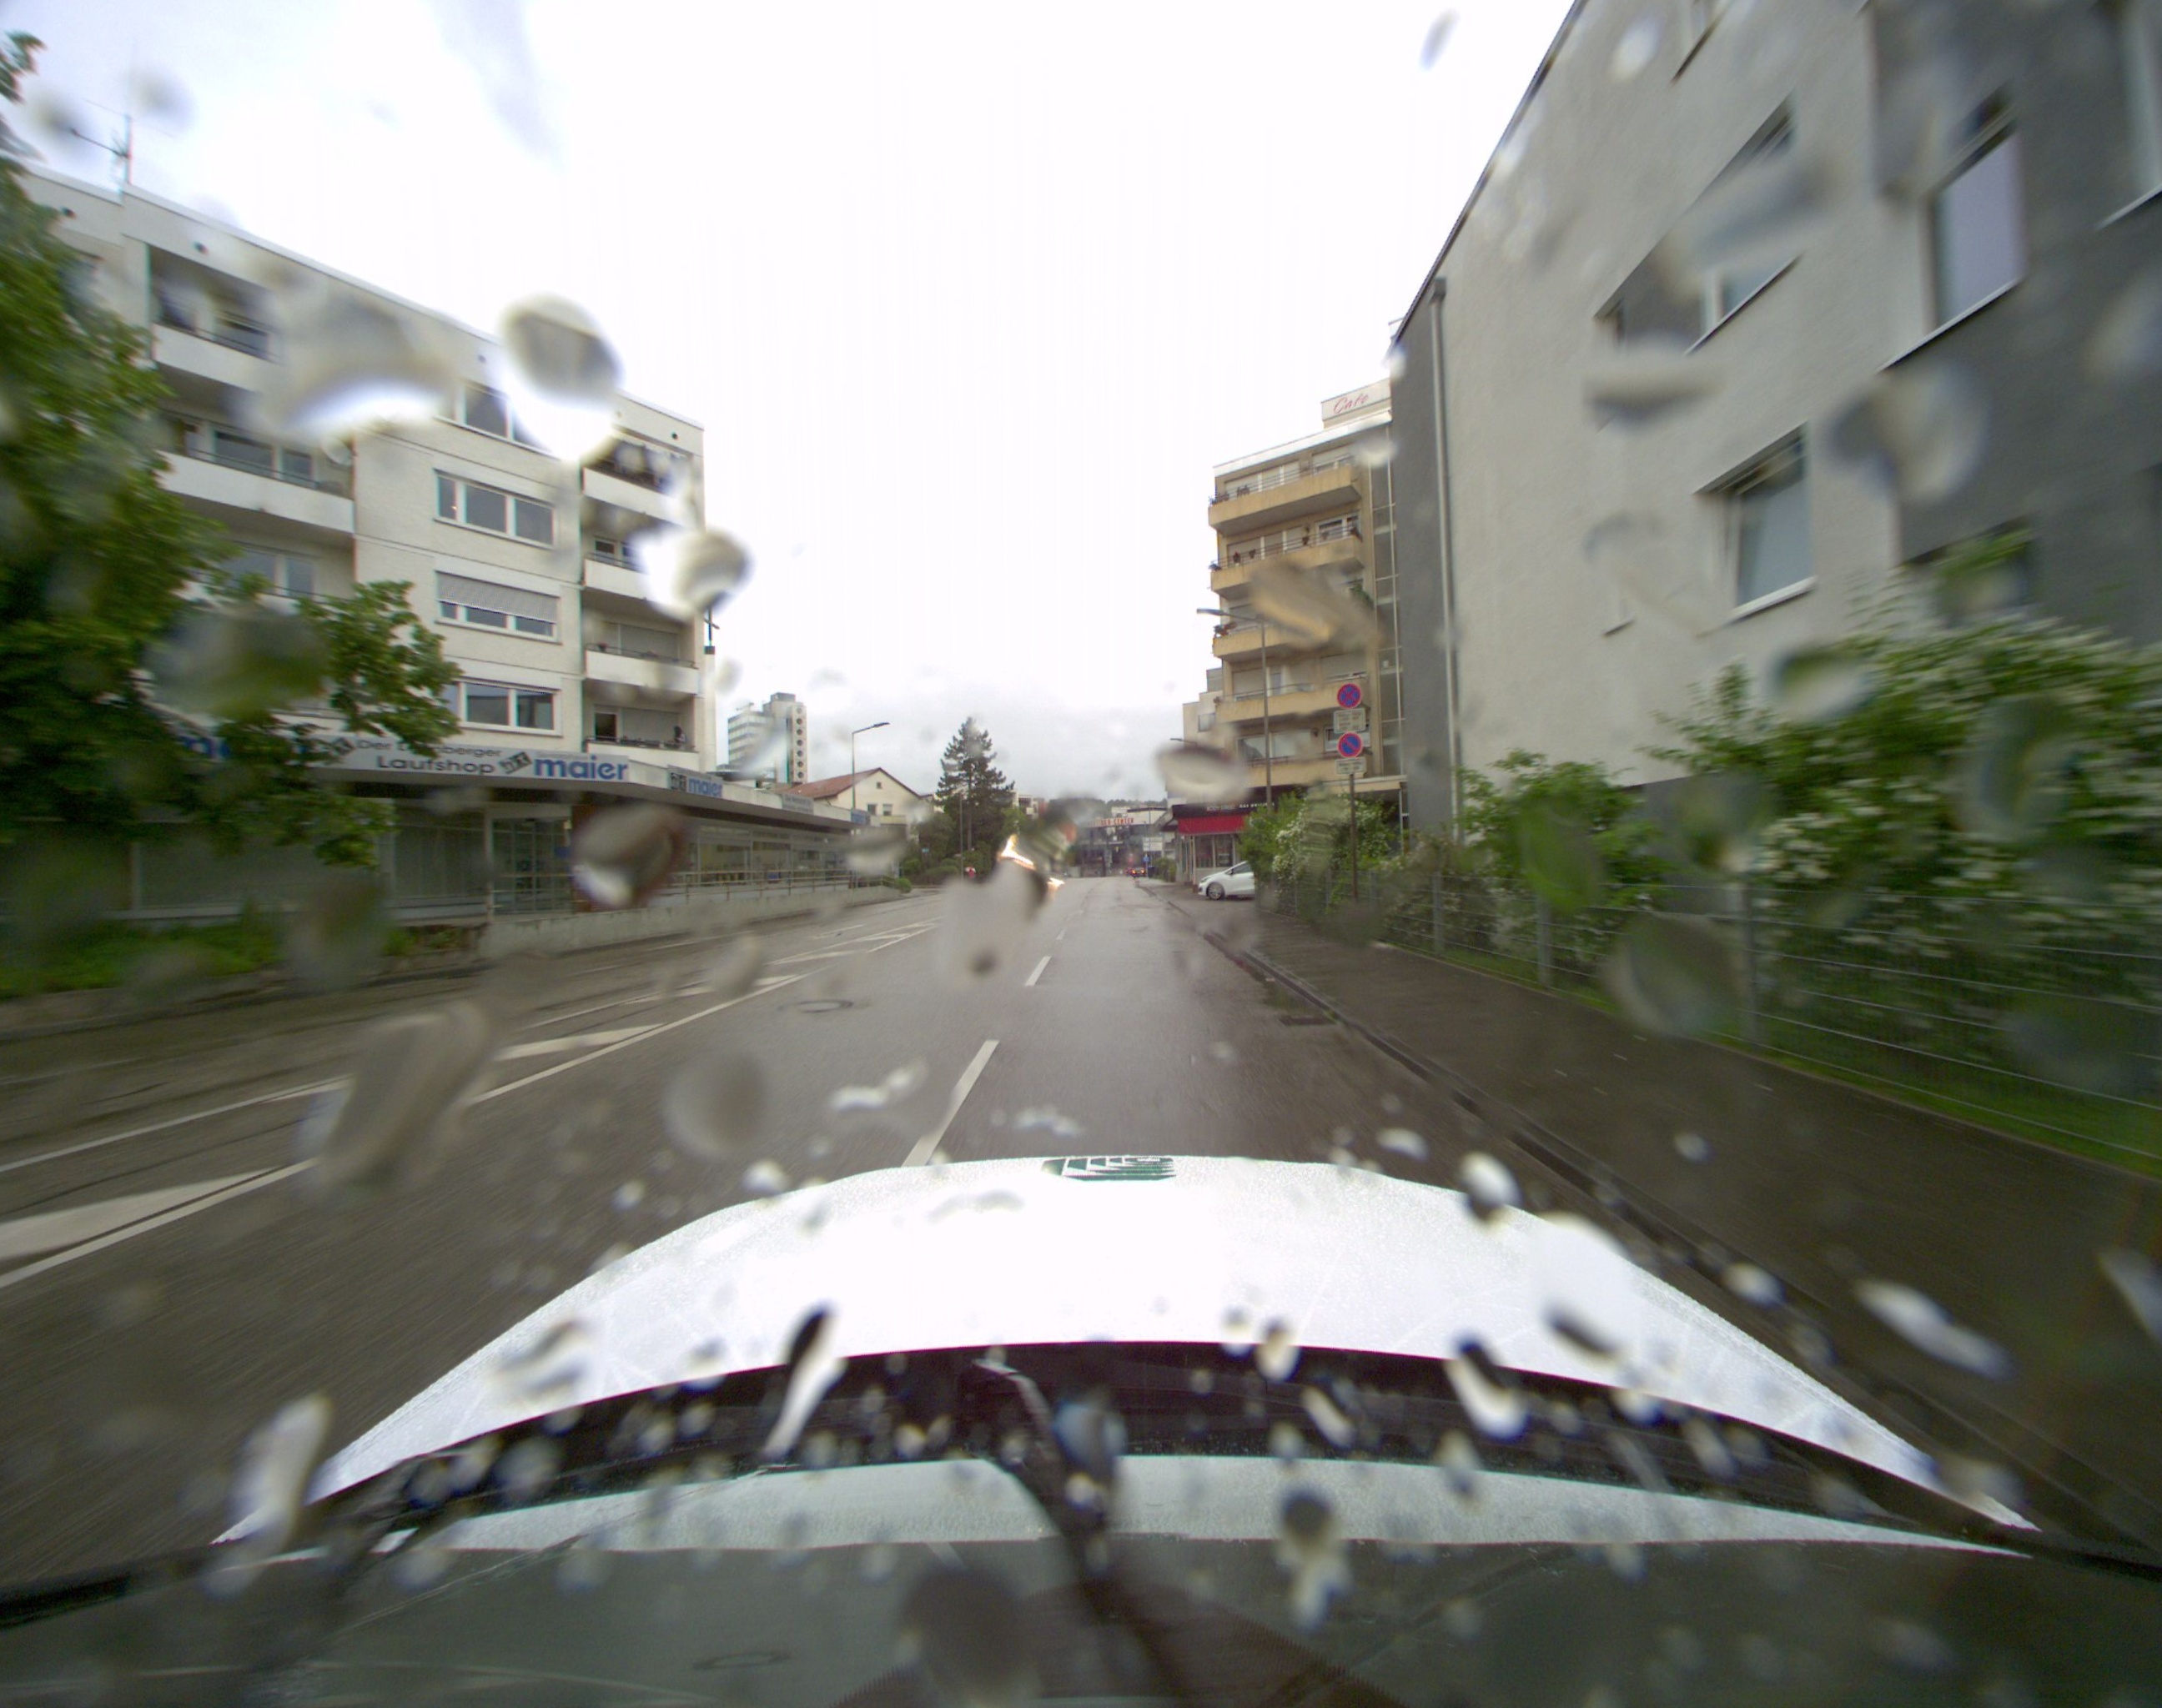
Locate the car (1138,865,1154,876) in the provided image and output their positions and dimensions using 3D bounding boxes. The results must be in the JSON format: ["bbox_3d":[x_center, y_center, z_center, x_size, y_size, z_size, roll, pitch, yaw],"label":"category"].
[{"bbox_3d":[10.272,2.584,128.640,1.686,1.486,4.014,-5,-2,13],"label":"car"}]

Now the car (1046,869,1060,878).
[{"bbox_3d":[-4.665,3.232,136.589,1.925,1.542,4.278,-1,-1,5],"label":"car"}]

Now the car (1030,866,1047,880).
[{"bbox_3d":[-4.846,2.184,93.080,1.692,1.409,4.000,-4,0,0],"label":"car"}]

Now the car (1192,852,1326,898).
[{"bbox_3d":[6.278,0.722,28.829,4.216,1.494,1.885,-1,1,30],"label":"car"}]

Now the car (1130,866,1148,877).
[{"bbox_3d":[8.801,2.725,123.327,1.979,1.534,4.664,-1,-2,14],"label":"car"}]

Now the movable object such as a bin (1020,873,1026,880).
[{"bbox_3d":[-8.214,3.162,115.736,0.645,0.966,0.683,-2,-2,4],"label":"movable object such as a bin"}]

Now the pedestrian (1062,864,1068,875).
[{"bbox_3d":[-3.012,2.953,154.126,0.741,2.014,0.926,2,-1,25],"label":"pedestrian"}]

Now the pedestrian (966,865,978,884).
[{"bbox_3d":[-9.581,1.809,71.608,0.867,1.607,1.101,-1,-2,-5],"label":"pedestrian"}]

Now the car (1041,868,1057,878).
[{"bbox_3d":[-5.165,3.119,131.163,1.925,1.542,4.527,-1,-1,5],"label":"car"}]

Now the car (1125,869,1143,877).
[{"bbox_3d":[9.255,3.301,142.869,1.788,1.419,4.022,-2,-1,24],"label":"car"}]

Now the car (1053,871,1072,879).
[{"bbox_3d":[-3.922,4.402,172.075,2.007,1.512,4.388,2,0,-32],"label":"car"}]
